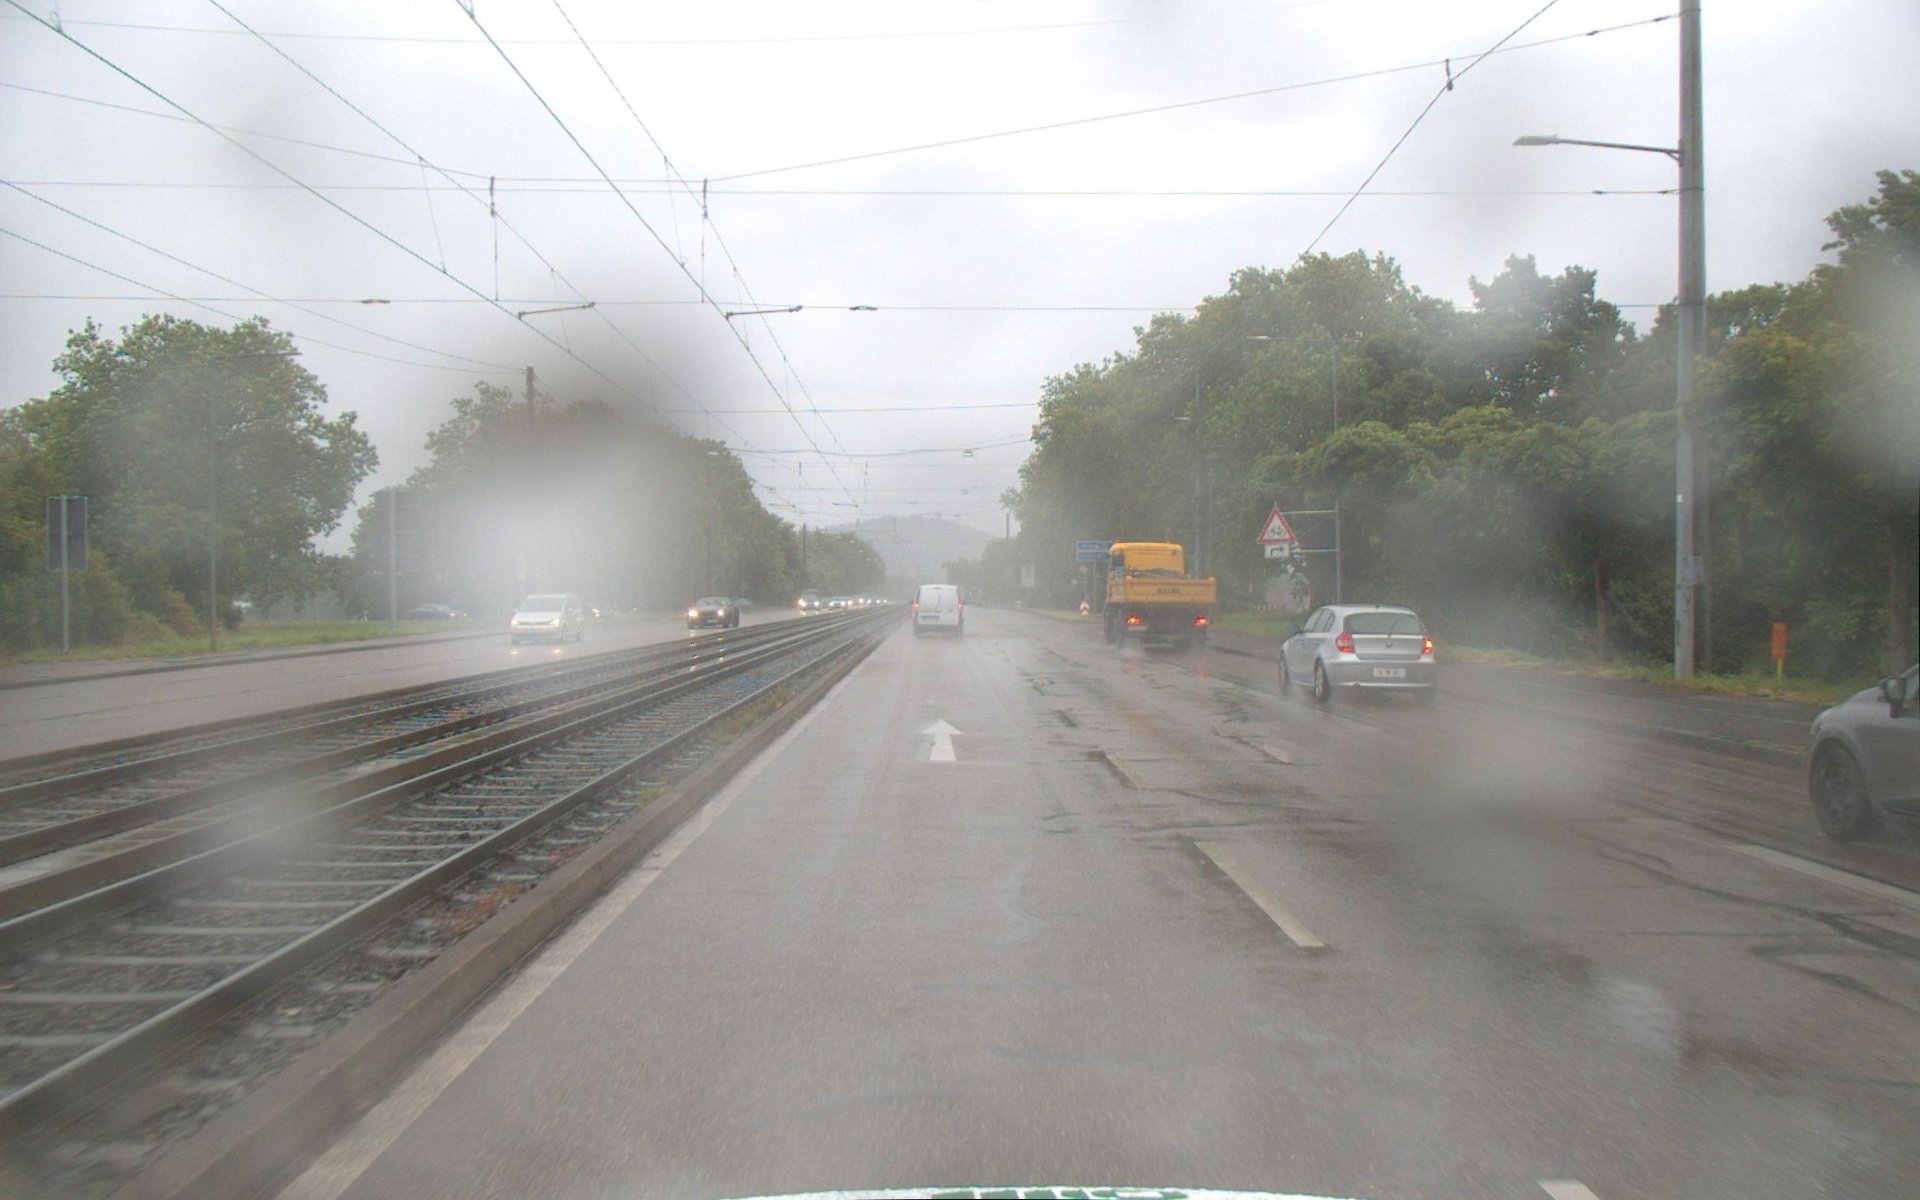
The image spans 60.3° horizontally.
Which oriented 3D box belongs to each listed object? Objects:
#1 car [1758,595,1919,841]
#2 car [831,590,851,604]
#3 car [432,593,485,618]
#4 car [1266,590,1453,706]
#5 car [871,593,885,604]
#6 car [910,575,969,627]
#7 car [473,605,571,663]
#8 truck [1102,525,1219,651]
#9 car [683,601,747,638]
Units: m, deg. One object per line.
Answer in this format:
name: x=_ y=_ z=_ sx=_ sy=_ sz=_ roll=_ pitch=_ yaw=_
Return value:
car: x=6.446 y=0.714 z=9.299 sx=1.849 sy=1.380 sz=4.277 roll=1 pitch=1 yaw=0
car: x=-12.083 y=-0.319 z=168.380 sx=1.706 sy=1.377 sz=4.545 roll=1 pitch=1 yaw=-1
car: x=-37.707 y=0.383 z=124.242 sx=4.570 sy=1.716 sz=1.835 roll=2 pitch=1 yaw=44
car: x=6.010 y=0.663 z=25.425 sx=1.594 sy=1.529 sz=4.604 roll=1 pitch=1 yaw=-2
car: x=-12.793 y=-0.198 z=258.685 sx=1.753 sy=1.576 sz=5.314 roll=1 pitch=1 yaw=1
car: x=-0.674 y=0.007 z=57.354 sx=1.948 sy=1.713 sz=3.740 roll=1 pitch=1 yaw=0
car: x=-13.656 y=1.026 z=51.877 sx=1.805 sy=1.601 sz=5.065 roll=1 pitch=1 yaw=-1
truck: x=5.658 y=-0.387 z=47.681 sx=2.503 sy=3.314 sz=6.934 roll=1 pitch=1 yaw=0
car: x=-11.337 y=0.869 z=76.746 sx=1.952 sy=1.489 sz=5.253 roll=-2 pitch=1 yaw=2
